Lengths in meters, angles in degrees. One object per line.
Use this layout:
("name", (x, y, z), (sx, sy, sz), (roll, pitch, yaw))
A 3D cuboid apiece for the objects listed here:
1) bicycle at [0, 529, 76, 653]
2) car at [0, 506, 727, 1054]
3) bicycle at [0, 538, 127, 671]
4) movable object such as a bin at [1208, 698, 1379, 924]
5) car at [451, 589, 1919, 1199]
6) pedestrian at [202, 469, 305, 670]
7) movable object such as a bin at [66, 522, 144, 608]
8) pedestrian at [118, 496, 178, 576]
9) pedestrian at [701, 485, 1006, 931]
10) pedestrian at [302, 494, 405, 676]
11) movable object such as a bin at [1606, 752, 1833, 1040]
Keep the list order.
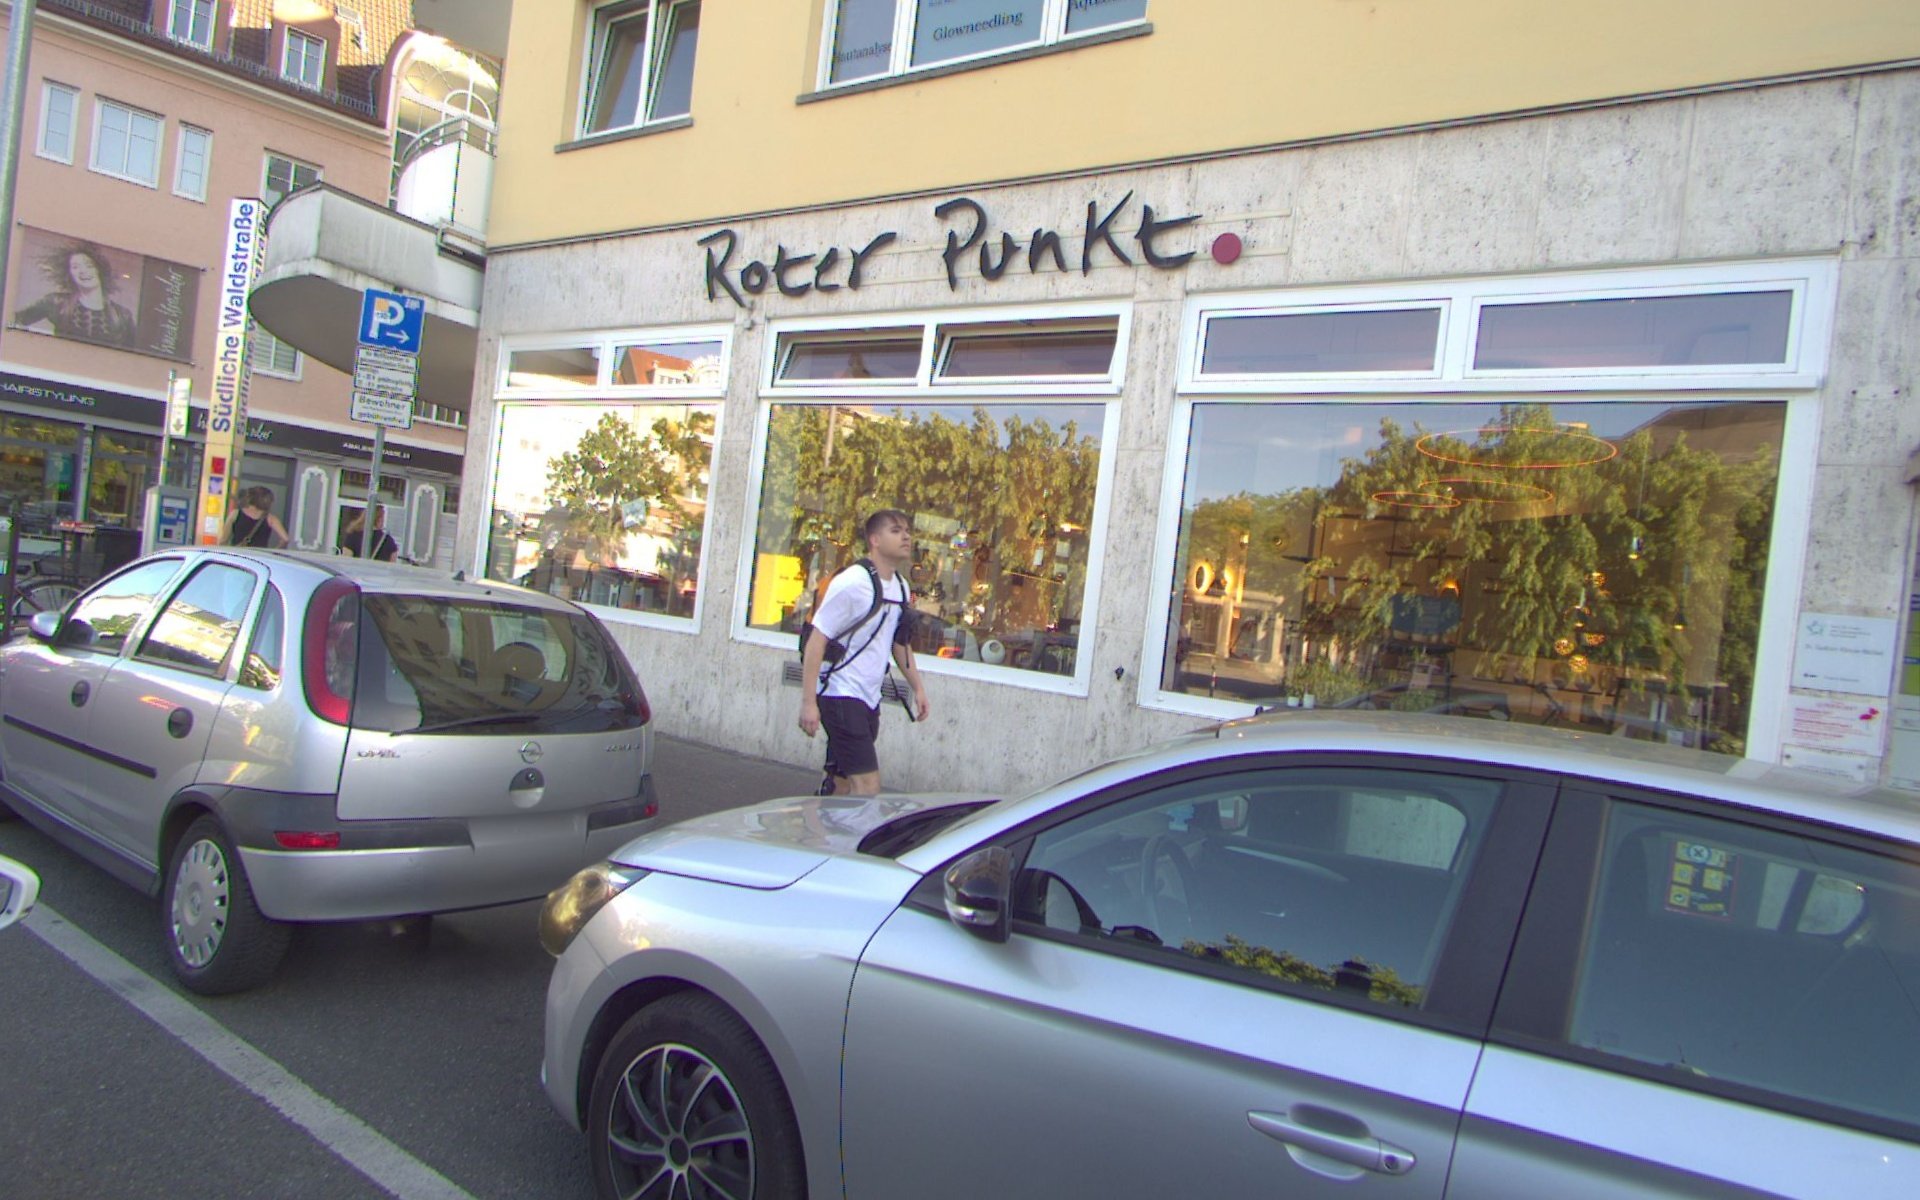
("bicycle", (-9.052, -0.151, 8.794), (0.642, 1.072, 1.815), (7, -1, 33))
("car", (-2.953, 0.484, 4.456), (3.520, 1.443, 1.587), (6, -2, 32))
("bicycle", (-8.161, 0.003, 8.249), (0.642, 1.057, 1.884), (7, 0, 33))
("movable object such as a bin", (1.828, 1.097, 5.472), (0.639, 1.035, 0.738), (6, -1, 31))
("car", (0.783, 0.944, 2.277), (3.624, 1.453, 1.587), (6, -2, 30))
("pedestrian", (-6.994, -0.295, 9.944), (0.677, 1.874, 0.883), (3, 3, -41))
("movable object such as a bin", (-11.953, -0.489, 14.061), (0.716, 1.117, 0.636), (7, 2, 35))
("pedestrian", (-17.180, -1.346, 21.303), (0.716, 1.567, 0.786), (8, -1, -31))
("pedestrian", (-0.501, 0.451, 4.789), (0.967, 1.845, 0.809), (6, 0, 35))
("pedestrian", (-6.278, -0.152, 10.404), (0.717, 1.777, 0.779), (4, 2, -39))
("movable object such as a bin", (3.376, 1.265, 4.542), (0.639, 1.035, 0.738), (6, -1, 31))
